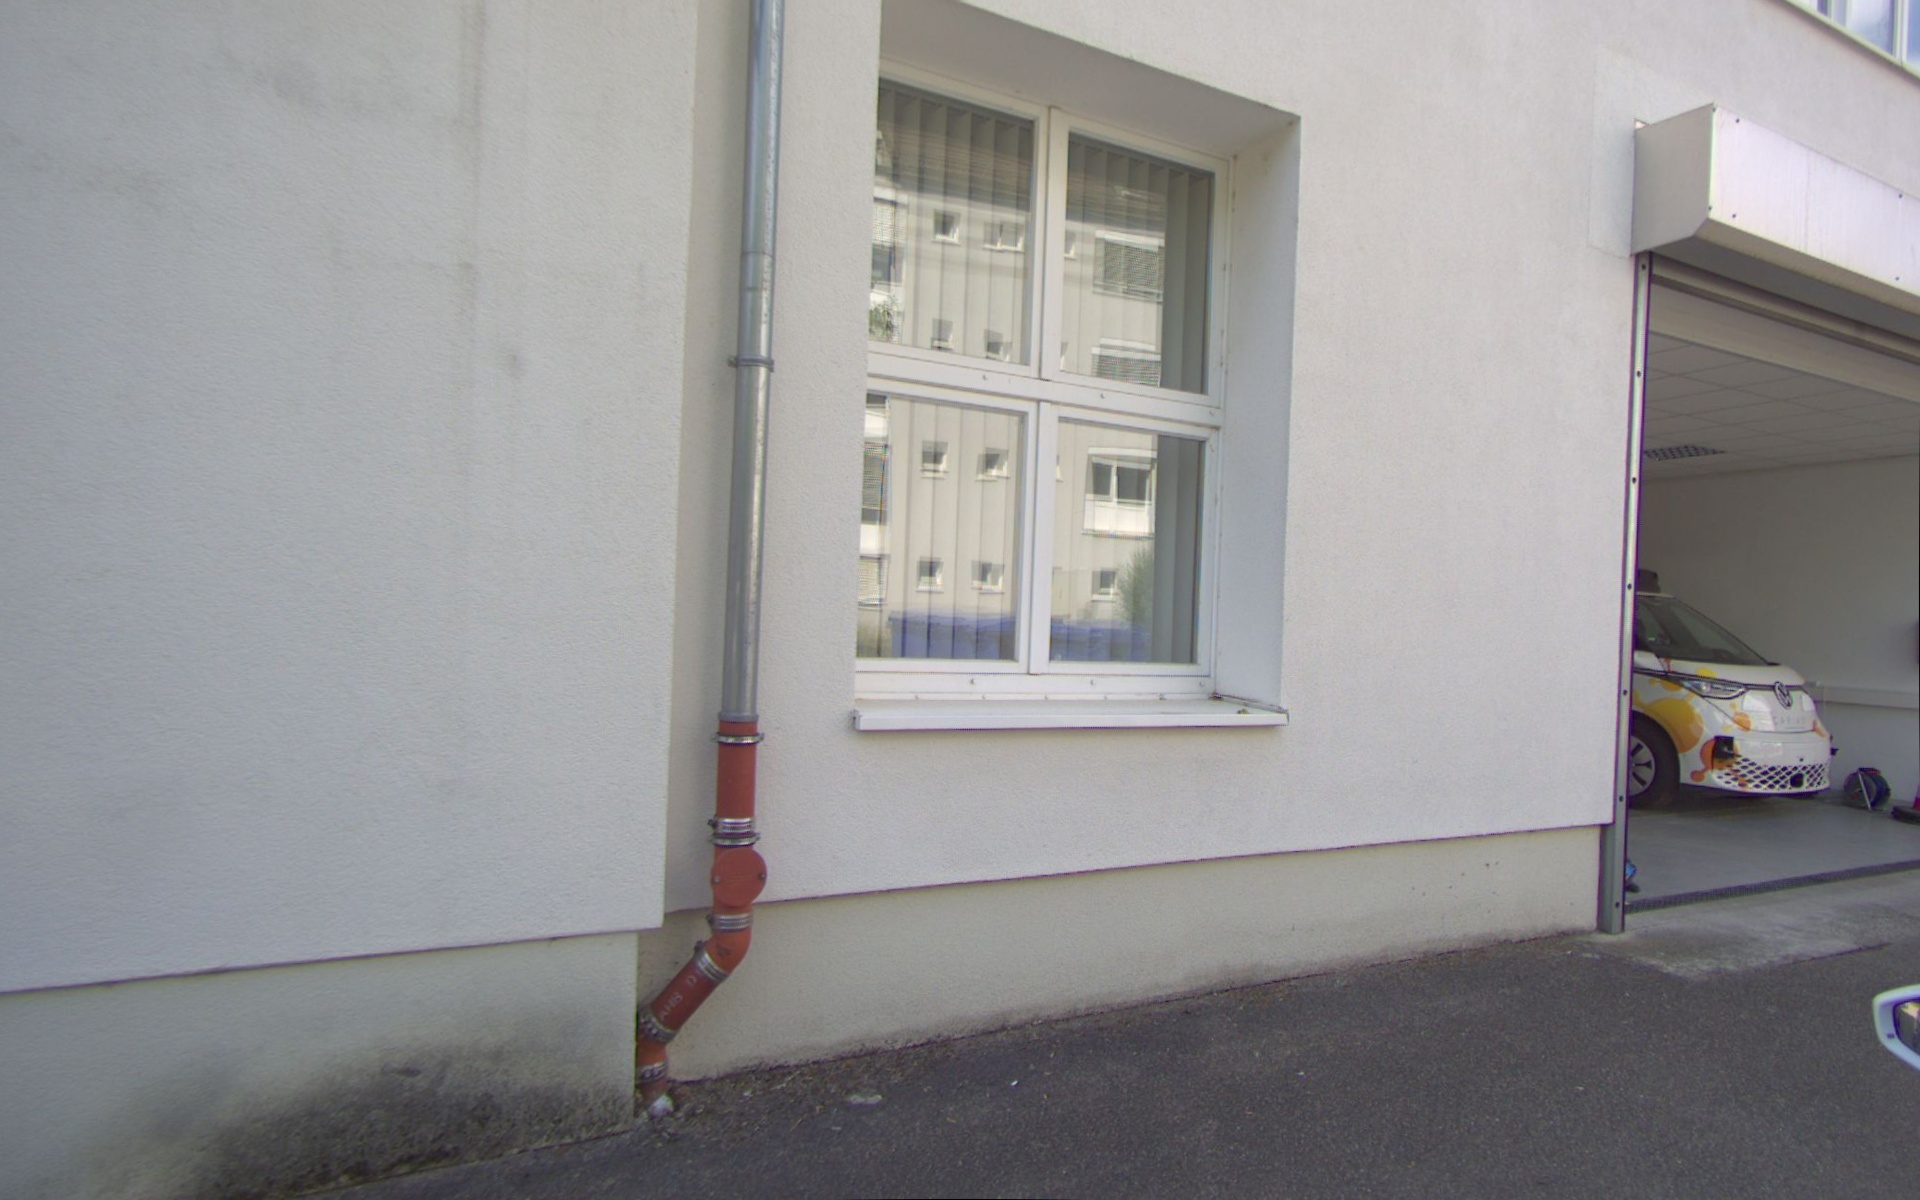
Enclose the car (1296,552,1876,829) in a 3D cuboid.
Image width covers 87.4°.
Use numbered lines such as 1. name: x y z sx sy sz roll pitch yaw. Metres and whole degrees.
1. car: 5.687 0.656 9.887 1.954 2.052 4.466 2 0 -24
